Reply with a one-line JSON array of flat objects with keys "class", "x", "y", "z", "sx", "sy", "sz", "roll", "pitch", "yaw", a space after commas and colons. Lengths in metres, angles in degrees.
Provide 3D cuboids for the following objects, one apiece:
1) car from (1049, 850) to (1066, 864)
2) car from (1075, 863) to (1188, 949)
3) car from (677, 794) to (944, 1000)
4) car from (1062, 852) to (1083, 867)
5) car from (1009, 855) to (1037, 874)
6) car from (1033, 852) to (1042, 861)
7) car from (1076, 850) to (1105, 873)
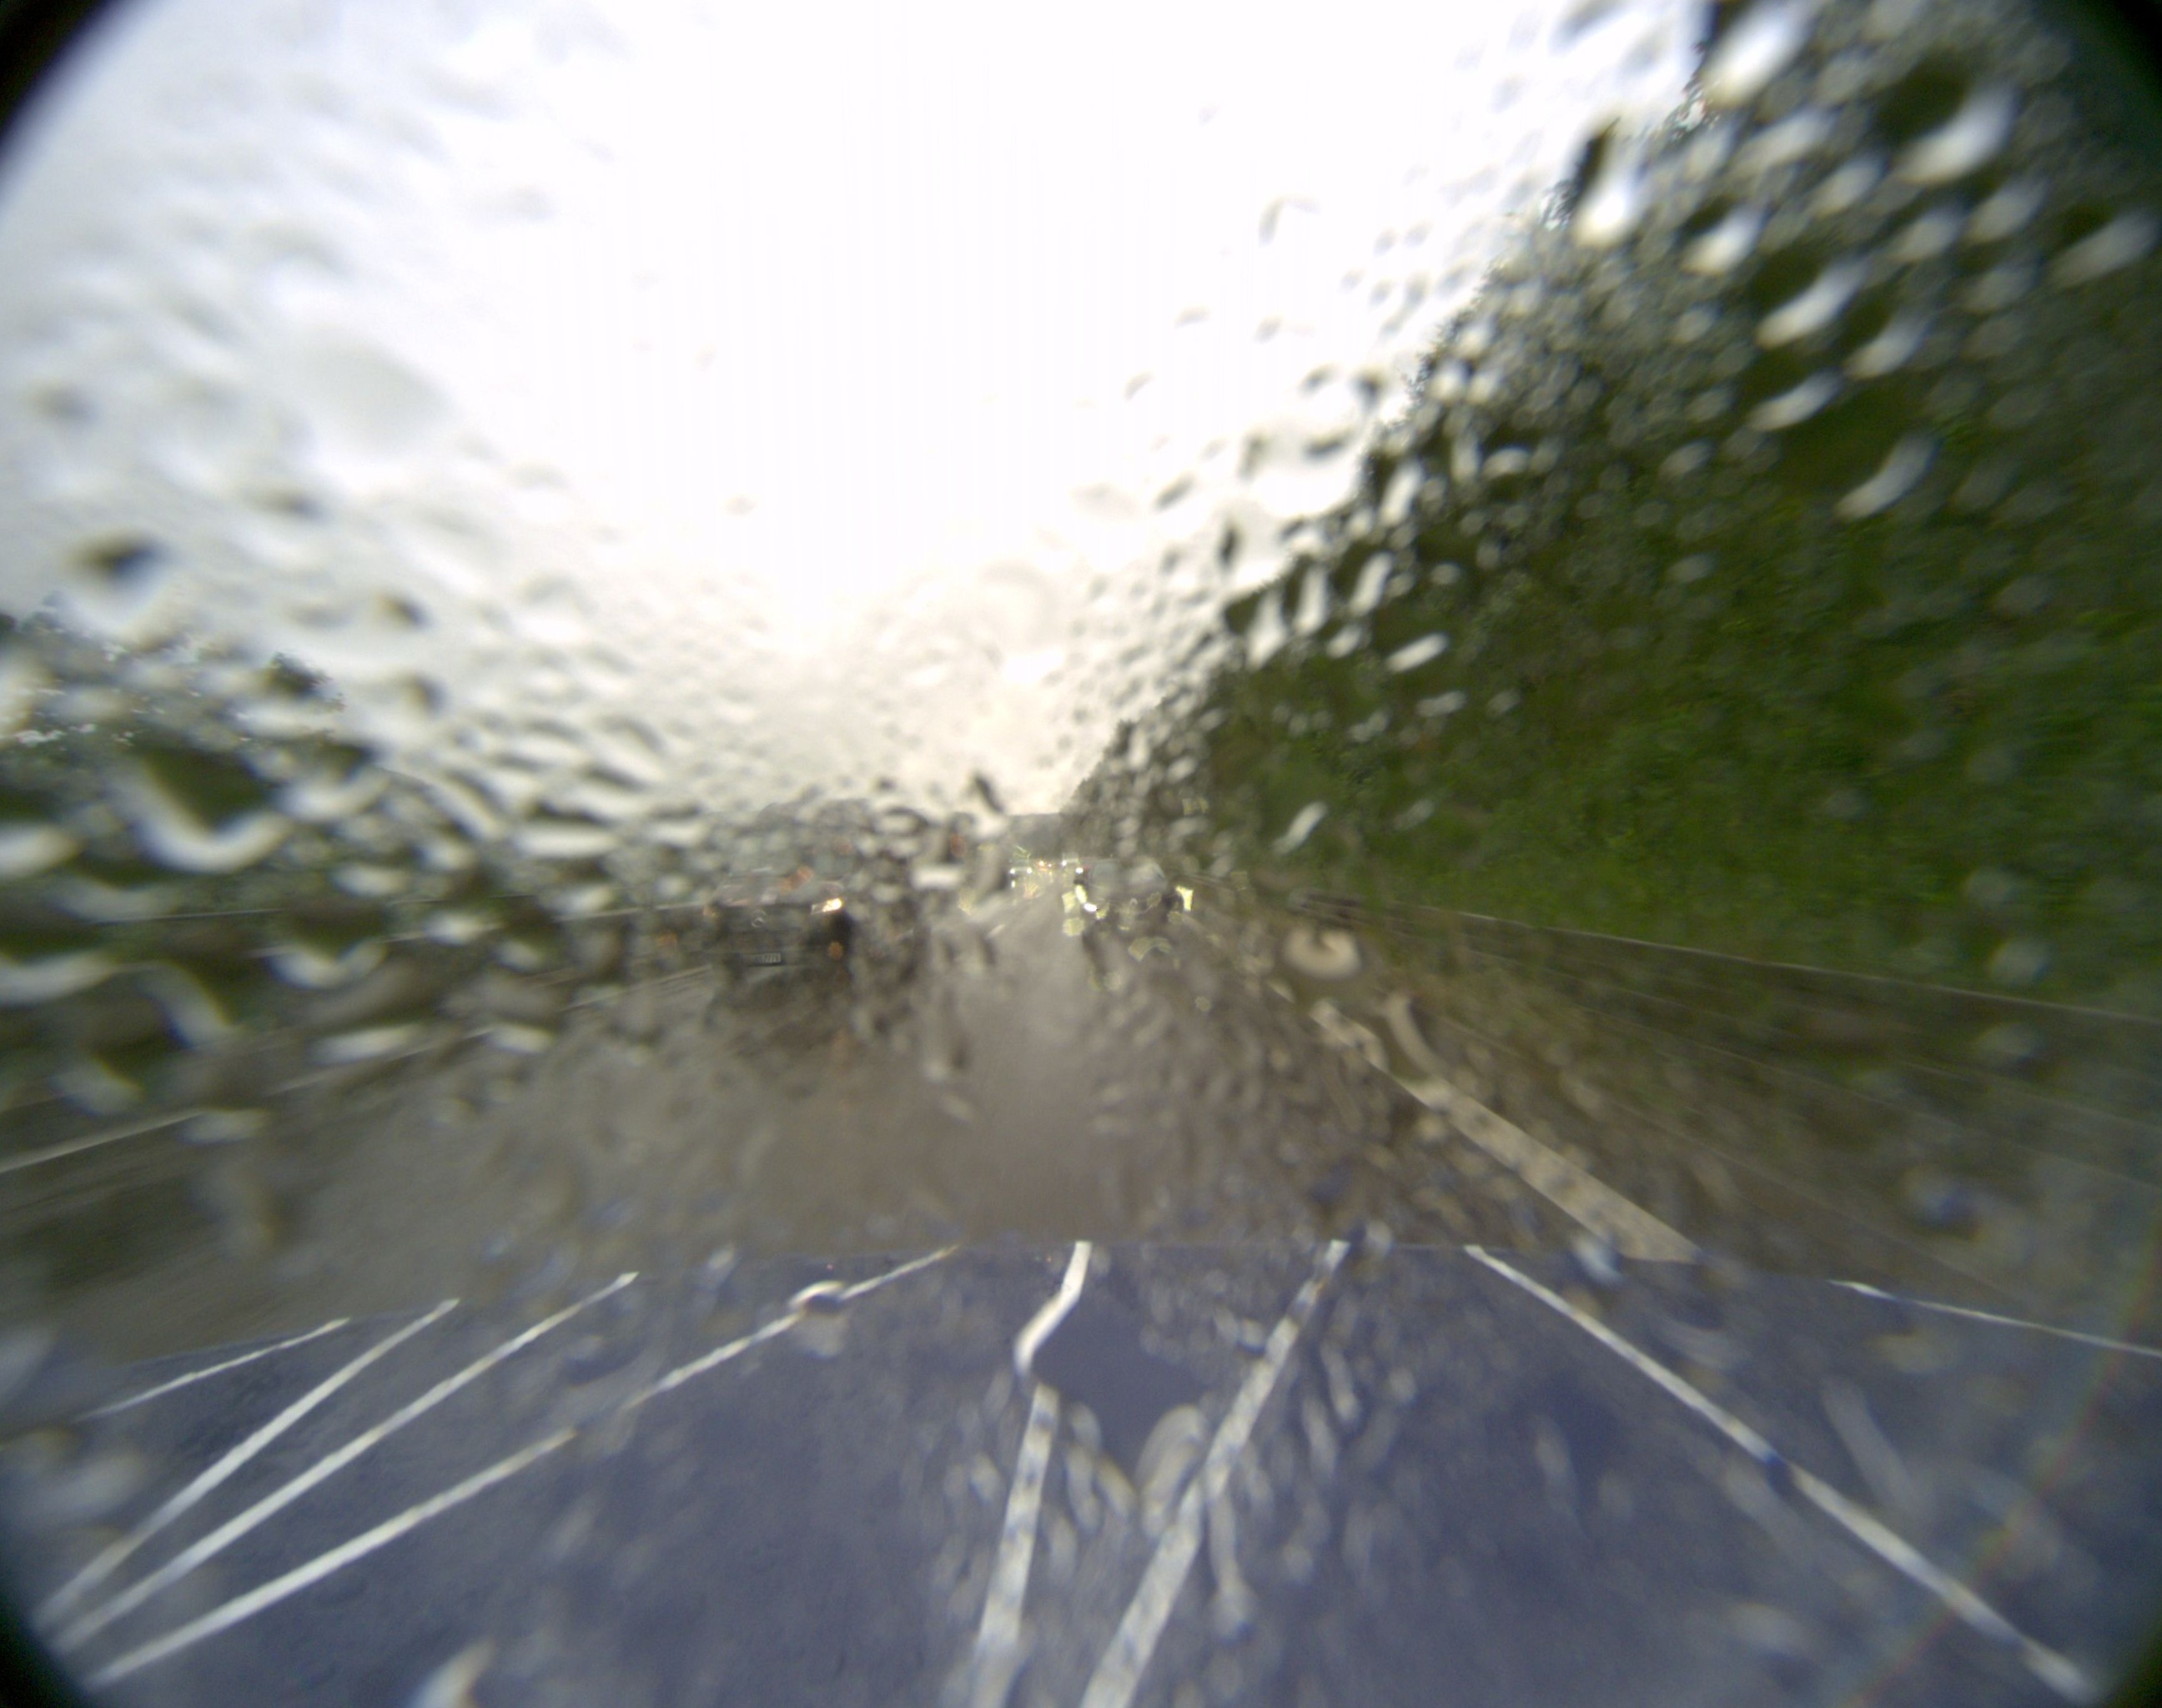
[{"class": "car", "x": -2.927, "y": 0.368, "z": 94.002, "sx": 1.806, "sy": 1.723, "sz": 3.763, "roll": -2, "pitch": 0, "yaw": -6}, {"class": "car", "x": 0.892, "y": 0.895, "z": 14.756, "sx": 1.839, "sy": 1.316, "sz": 4.135, "roll": -2, "pitch": 0, "yaw": 1}, {"class": "car", "x": -3.962, "y": 0.518, "z": 12.803, "sx": 1.998, "sy": 2.480, "sz": 6.704, "roll": -2, "pitch": 0, "yaw": 0}, {"class": "car", "x": -0.917, "y": 0.583, "z": 79.617, "sx": 1.907, "sy": 1.545, "sz": 4.562, "roll": -1, "pitch": 0, "yaw": -5}, {"class": "car", "x": -4.787, "y": 0.824, "z": 62.942, "sx": 1.991, "sy": 1.407, "sz": 4.563, "roll": -2, "pitch": 0, "yaw": -1}, {"class": "car", "x": -8.851, "y": 0.548, "z": 153.843, "sx": 1.577, "sy": 1.809, "sz": 3.505, "roll": 0, "pitch": 1, "yaw": -6}, {"class": "car", "x": 0.567, "y": 0.525, "z": 49.277, "sx": 1.713, "sy": 1.315, "sz": 3.945, "roll": -3, "pitch": -1, "yaw": -2}]
